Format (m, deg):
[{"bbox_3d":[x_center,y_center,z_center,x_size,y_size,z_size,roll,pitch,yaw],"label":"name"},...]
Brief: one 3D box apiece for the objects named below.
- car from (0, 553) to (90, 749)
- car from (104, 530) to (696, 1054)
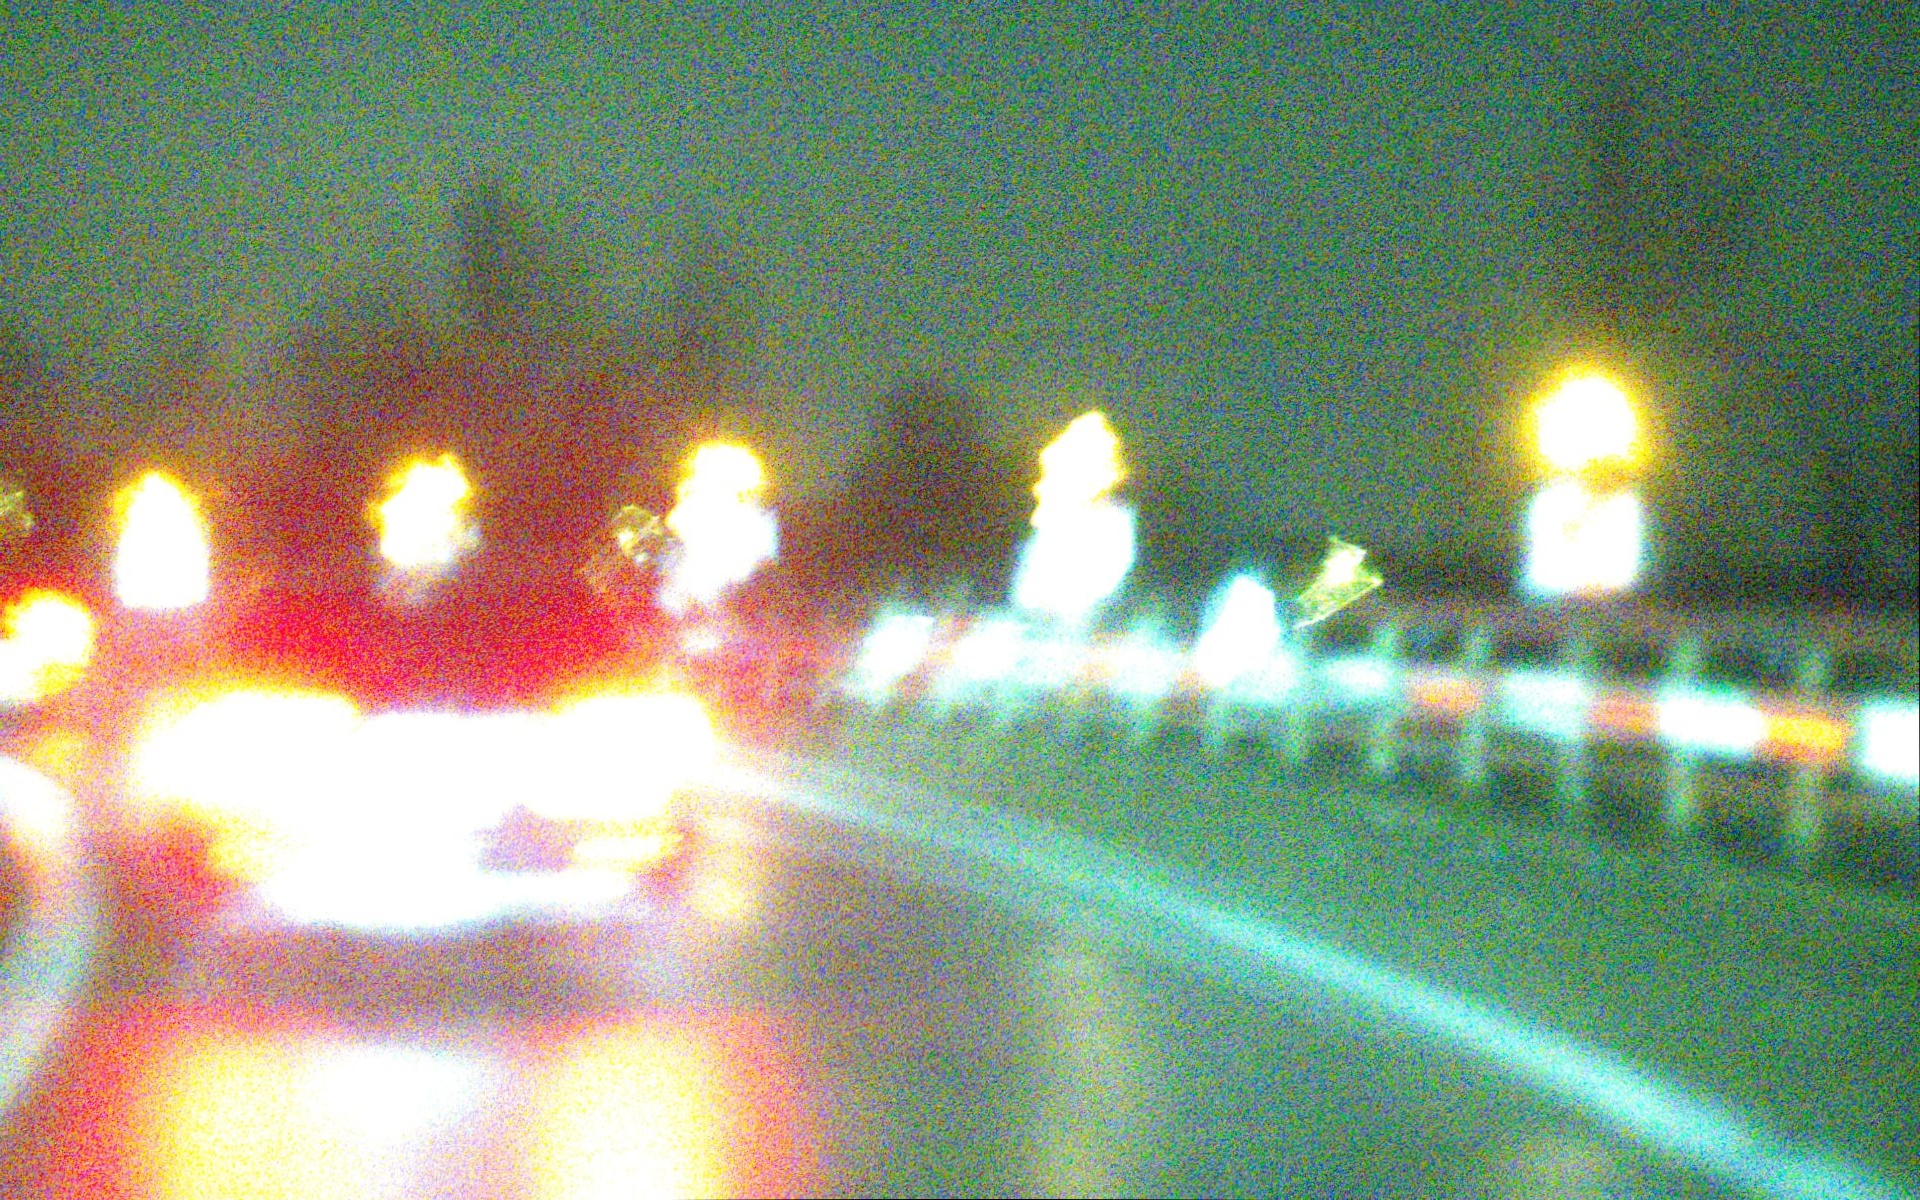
[{"bbox_3d":[-9.389,0.420,32.124,1.895,1.714,4.047,1,1,-22],"label":"car"},{"bbox_3d":[-2.170,0.579,13.068,1.860,1.641,4.070,-1,1,-11],"label":"car"}]
